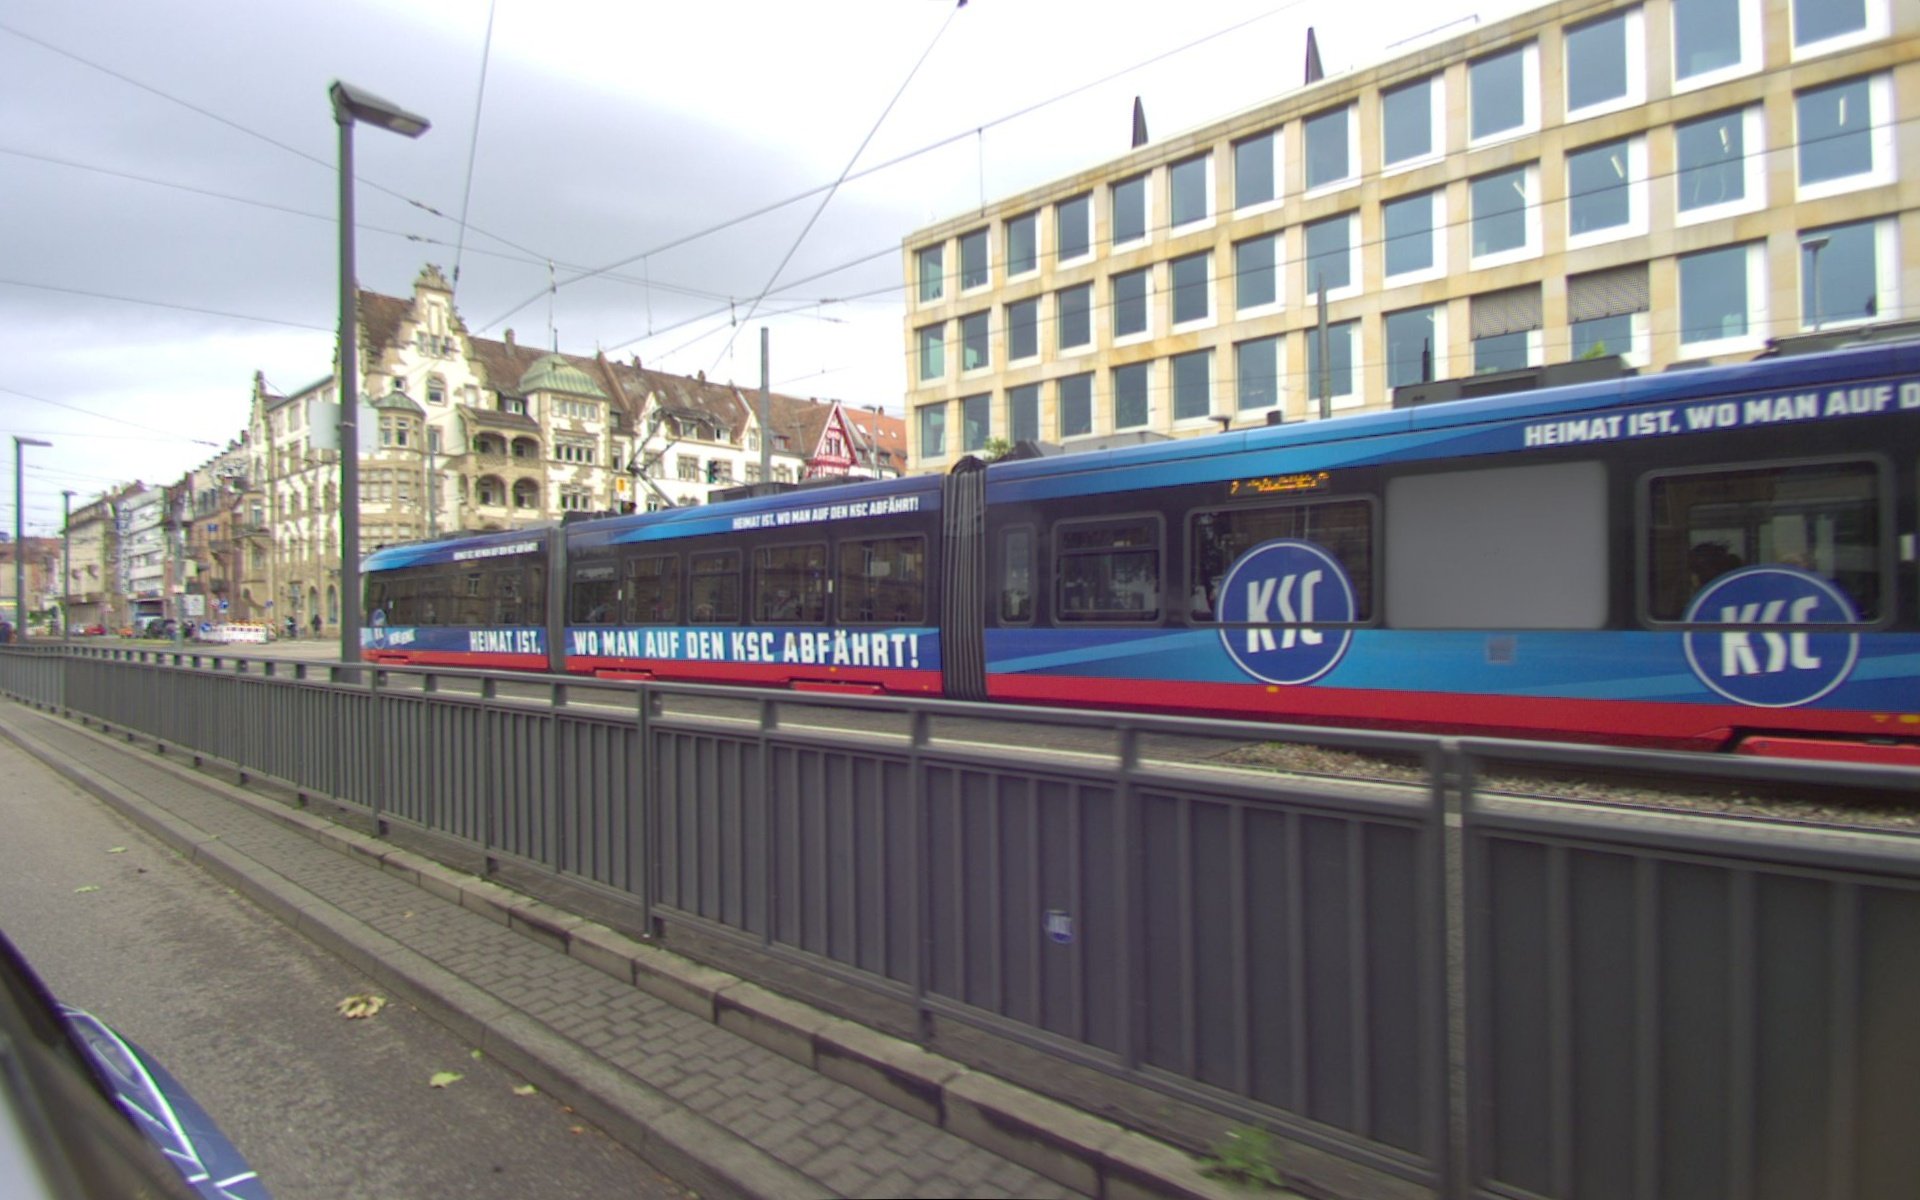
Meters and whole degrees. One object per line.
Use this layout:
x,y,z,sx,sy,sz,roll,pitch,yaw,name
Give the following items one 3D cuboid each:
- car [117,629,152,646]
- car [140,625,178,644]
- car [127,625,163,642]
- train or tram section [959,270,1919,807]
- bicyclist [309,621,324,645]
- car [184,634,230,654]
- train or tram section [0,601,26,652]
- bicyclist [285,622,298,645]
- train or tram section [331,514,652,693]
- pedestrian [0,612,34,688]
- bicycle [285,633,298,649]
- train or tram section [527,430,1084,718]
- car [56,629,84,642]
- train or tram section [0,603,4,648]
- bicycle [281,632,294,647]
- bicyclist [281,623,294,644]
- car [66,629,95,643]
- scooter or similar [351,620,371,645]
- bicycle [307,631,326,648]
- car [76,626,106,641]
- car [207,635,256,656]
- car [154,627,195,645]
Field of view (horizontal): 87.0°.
-83.548,3.733,102.378,3.995,1.608,1.974,-1,-1,39,car
-73.654,3.143,93.045,3.995,1.608,1.974,-1,-1,39,car
-78.481,3.213,97.441,3.995,1.608,1.974,-1,-1,39,car
6.011,-0.404,9.426,13.513,3.720,2.825,-1,-1,41,train or tram section
-42.808,2.203,67.317,0.740,1.532,0.766,0,-3,-42,bicyclist
-59.439,3.424,79.856,3.995,1.453,1.974,-1,-1,39,car
-70.408,1.873,73.426,13.615,3.463,2.617,-1,-1,42,train or tram section
-47.096,2.352,71.312,0.712,1.618,0.861,-1,-2,-34,bicyclist
-12.295,0.134,25.617,11.759,3.668,2.825,-1,-1,41,train or tram section
-21.173,1.094,22.348,0.644,1.655,0.861,0,-1,0,pedestrian
-47.091,2.892,71.310,0.712,1.045,1.914,-1,-2,-34,bicycle
-3.487,-0.268,17.834,11.693,3.668,2.825,-1,-1,41,train or tram section
-111.155,4.413,126.393,3.995,1.608,1.974,-1,-1,39,car
-80.508,2.040,82.509,13.615,3.463,2.617,-1,-1,42,train or tram section
-48.787,2.873,73.427,0.697,1.045,2.028,-1,-2,-32,bicycle
-48.794,2.421,73.434,0.697,1.455,0.975,0,-2,-32,bicyclist
-106.547,4.315,122.630,3.995,1.608,1.974,-1,-1,39,car
-40.761,2.204,68.857,1.828,1.728,0.558,-1,-1,40,scooter or similar
-42.795,2.649,67.309,0.740,1.045,1.917,0,-3,-42,bicycle
-101.994,3.939,118.751,3.995,1.608,1.974,-1,-1,39,car
-54.900,3.427,76.244,3.995,1.453,1.974,-1,-1,39,car
-69.075,3.155,88.973,3.995,1.453,1.974,-1,-1,39,car
